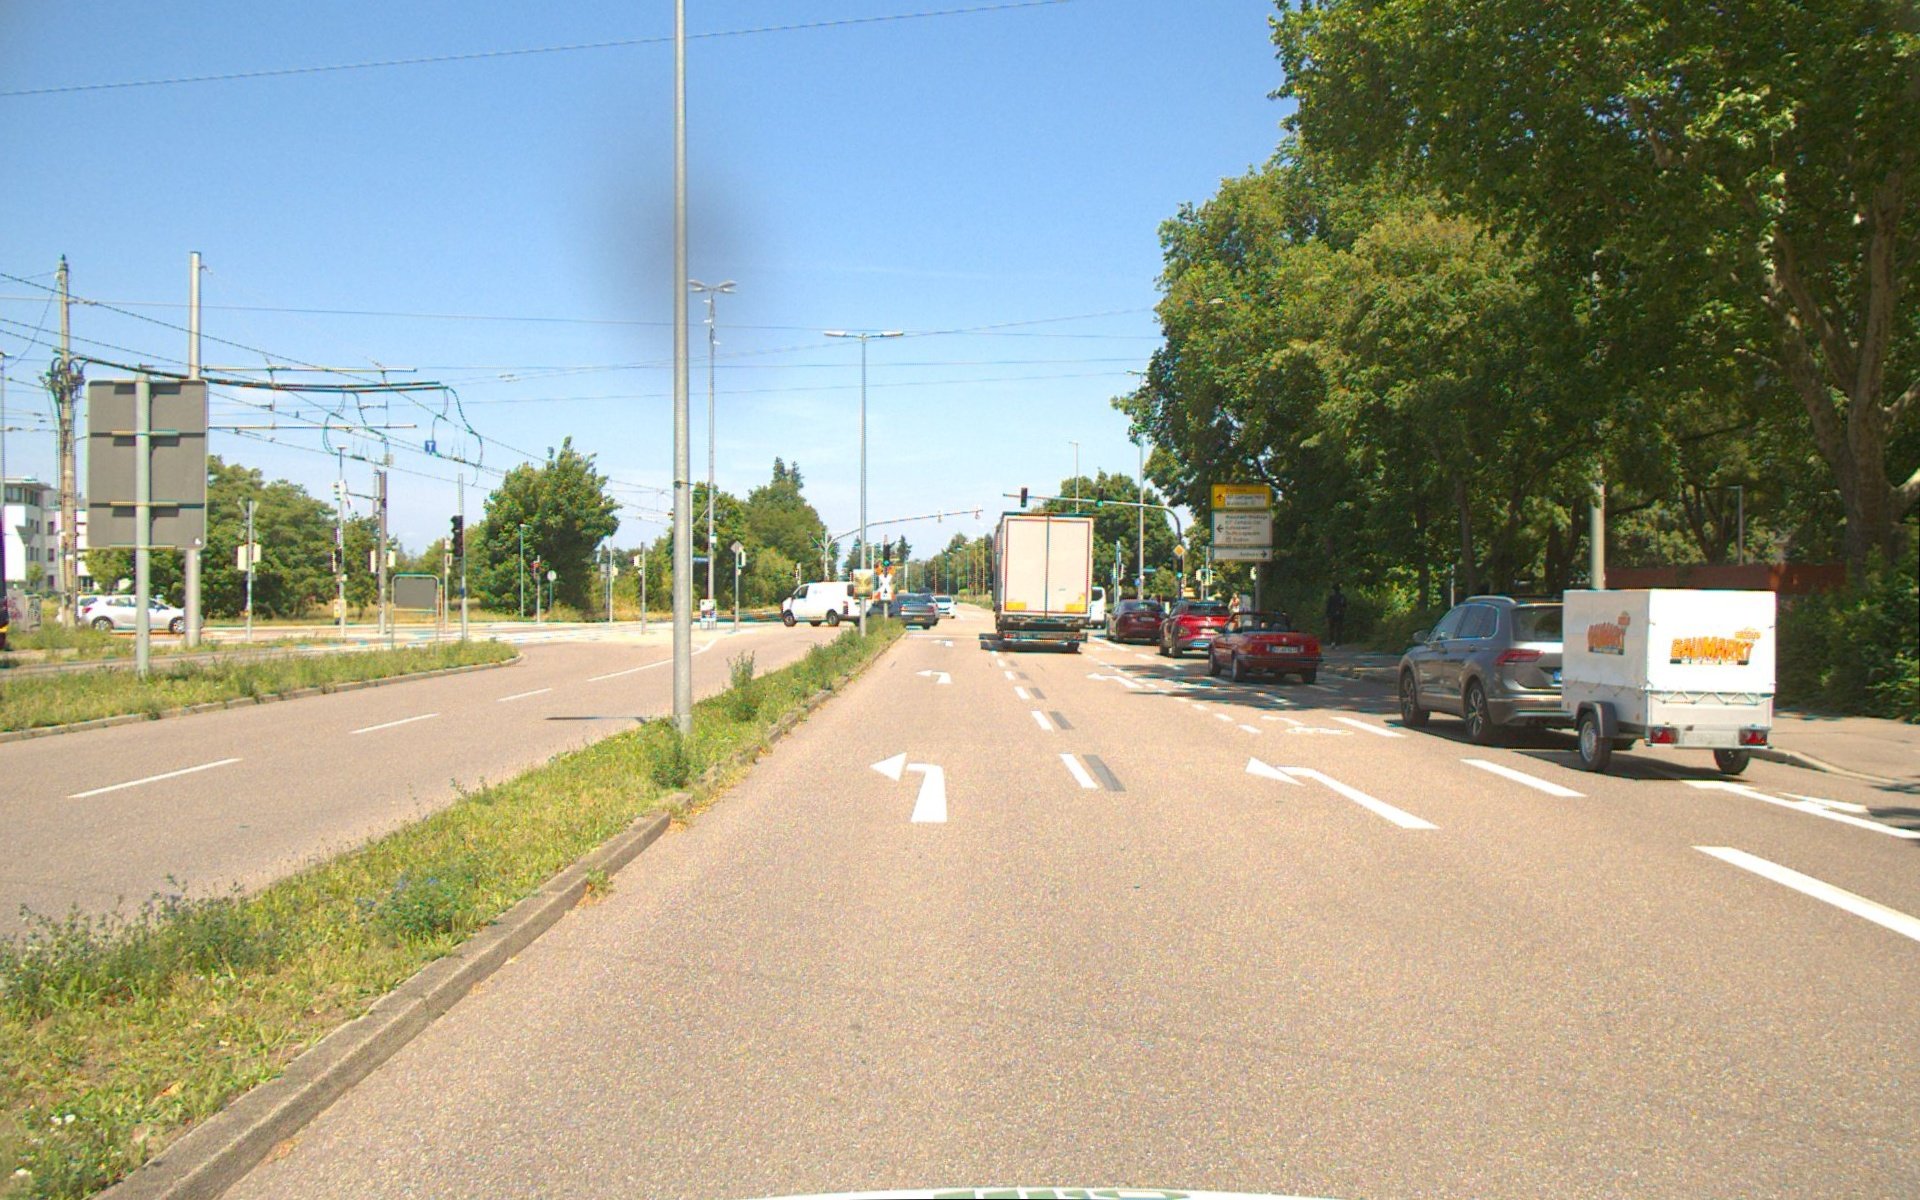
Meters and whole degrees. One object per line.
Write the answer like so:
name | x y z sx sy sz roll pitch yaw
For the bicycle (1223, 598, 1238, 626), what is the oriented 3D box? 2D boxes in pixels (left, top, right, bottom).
bicycle | 13.197 0.598 80.570 0.630 1.327 1.627 -2 -1 10

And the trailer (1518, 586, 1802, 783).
trailer | 6.630 0.738 15.954 1.439 1.698 2.855 2 0 -2

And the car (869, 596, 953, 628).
car | -2.385 0.555 79.378 1.879 1.395 4.370 0 1 -38

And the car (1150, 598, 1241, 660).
car | 6.429 0.757 45.547 1.820 1.576 3.886 2 0 -2

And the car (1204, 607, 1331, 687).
car | 6.046 0.882 32.954 1.621 1.421 4.266 2 0 -2

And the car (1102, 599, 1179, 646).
car | 6.268 0.757 57.894 1.954 1.529 4.499 0 1 -4

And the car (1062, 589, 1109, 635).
car | 6.064 0.566 80.147 1.852 2.158 3.886 2 0 -2

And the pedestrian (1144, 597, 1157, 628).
pedestrian | 12.738 0.813 110.491 0.727 2.049 0.613 1 0 0

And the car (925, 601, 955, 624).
car | -1.335 0.802 108.376 1.820 1.397 4.155 2 0 -2

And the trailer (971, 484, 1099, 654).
trailer | 2.056 -0.852 49.005 2.771 4.499 8.743 2 0 -4

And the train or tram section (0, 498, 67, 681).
train or tram section | -23.864 -0.362 35.622 13.033 3.526 3.033 2 0 38

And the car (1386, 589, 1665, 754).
car | 6.514 0.746 19.580 1.665 1.683 4.397 2 0 -2

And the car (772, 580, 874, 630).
car | -6.235 0.182 74.908 4.663 2.148 1.988 1 1 42

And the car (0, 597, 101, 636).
car | -36.222 0.632 65.035 4.224 1.437 1.879 0 1 -32

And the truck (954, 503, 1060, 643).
truck | 1.508 -0.941 57.589 2.771 4.420 8.278 2 1 -4

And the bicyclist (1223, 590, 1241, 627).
bicyclist | 13.232 0.400 80.409 0.785 1.757 0.679 -2 -1 10

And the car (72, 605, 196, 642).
car | -31.802 0.887 63.681 4.221 1.316 1.981 0 1 -30

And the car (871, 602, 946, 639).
car | -2.182 0.842 68.984 1.864 1.396 4.404 2 -1 -20

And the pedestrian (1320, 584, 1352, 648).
pedestrian | 10.948 0.468 48.118 0.738 1.847 0.693 -1 0 -2
